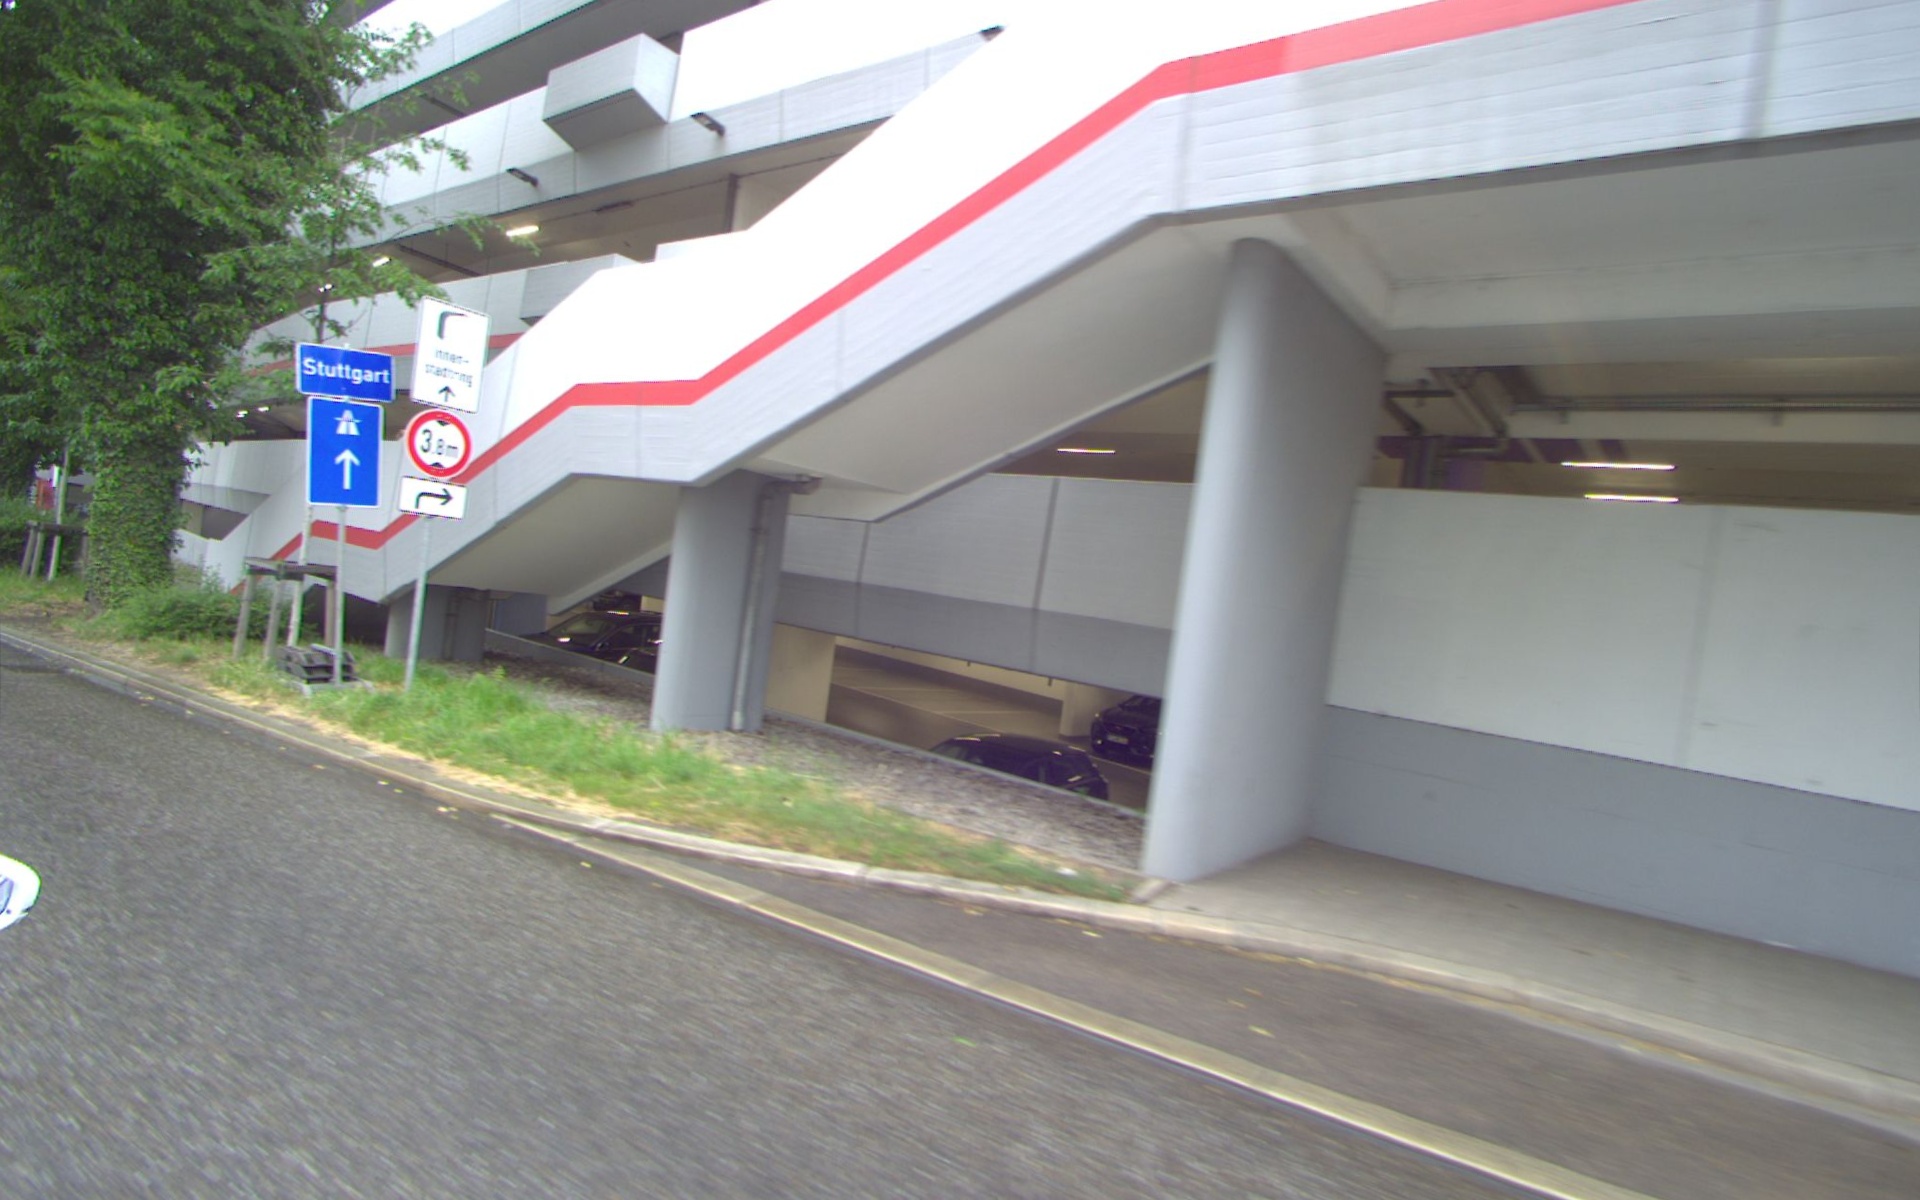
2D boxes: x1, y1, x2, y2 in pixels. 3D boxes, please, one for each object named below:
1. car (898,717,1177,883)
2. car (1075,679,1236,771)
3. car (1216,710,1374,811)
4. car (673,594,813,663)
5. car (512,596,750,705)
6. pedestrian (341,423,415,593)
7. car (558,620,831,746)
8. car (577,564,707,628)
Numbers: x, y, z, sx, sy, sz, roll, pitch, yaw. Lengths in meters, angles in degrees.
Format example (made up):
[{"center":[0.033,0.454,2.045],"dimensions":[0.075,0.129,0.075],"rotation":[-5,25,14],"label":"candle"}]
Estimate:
[{"center":[1.201,2.570,13.788],"dimensions":[1.810,1.559,3.930],"rotation":[11,1,37],"label":"car"},{"center":[4.472,2.773,22.616],"dimensions":[1.810,1.559,3.988],"rotation":[11,1,37],"label":"car"},{"center":[7.185,3.305,21.321],"dimensions":[1.810,1.559,3.988],"rotation":[11,1,37],"label":"car"},{"center":[-6.963,0.952,32.586],"dimensions":[1.792,1.804,3.978],"rotation":[7,0,44],"label":"car"},{"center":[-6.048,0.994,18.814],"dimensions":[1.782,1.559,3.733],"rotation":[11,1,37],"label":"car"},{"center":[-7.746,-1.213,13.399],"dimensions":[0.486,2.181,0.513],"rotation":[7,1,36],"label":"pedestrian"},{"center":[-4.242,1.383,16.630],"dimensions":[1.810,1.643,3.988],"rotation":[7,-1,36],"label":"car"},{"center":[-11.410,-0.113,36.256],"dimensions":[1.792,1.804,3.978],"rotation":[7,0,44],"label":"car"}]
